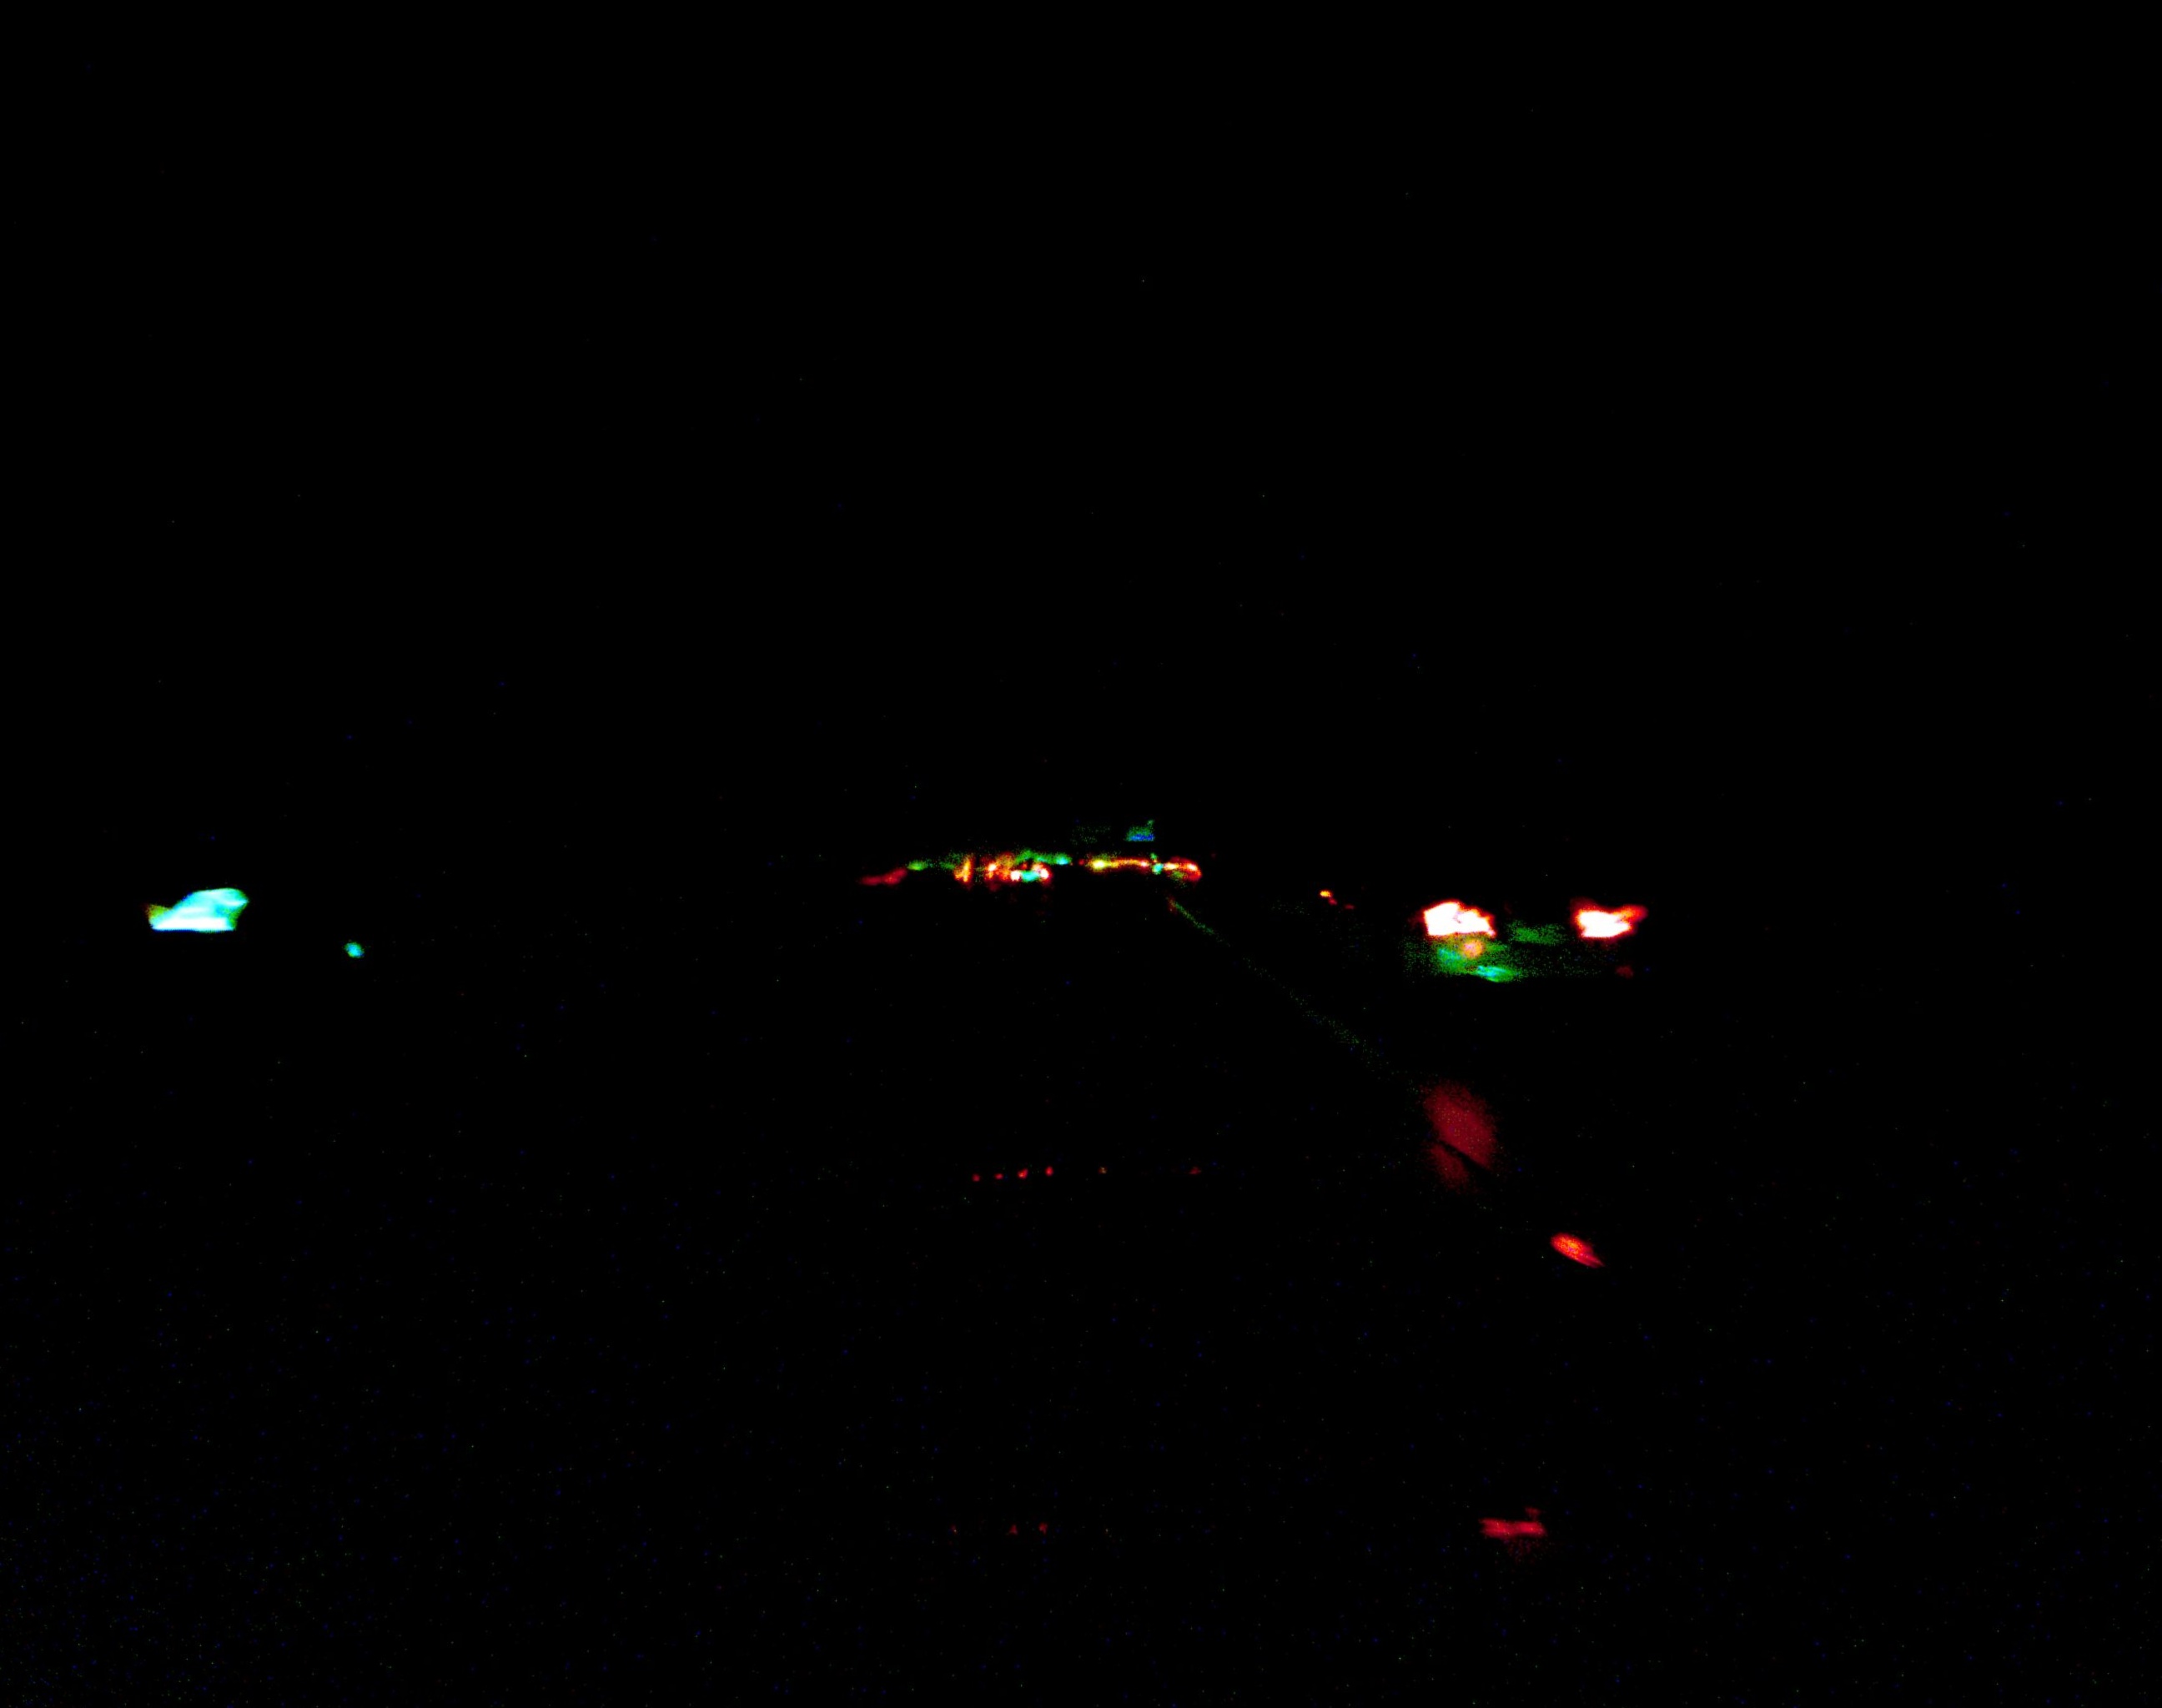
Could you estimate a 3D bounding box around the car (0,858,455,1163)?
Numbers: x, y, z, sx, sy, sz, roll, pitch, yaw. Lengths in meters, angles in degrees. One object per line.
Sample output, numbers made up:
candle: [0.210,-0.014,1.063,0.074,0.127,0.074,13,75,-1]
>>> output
car: [-6.447,0.821,4.694,1.851,1.540,4.753,-1,0,2]

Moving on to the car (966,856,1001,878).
car: [-6.052,0.833,50.883,1.657,1.236,3.761,-4,-2,0]

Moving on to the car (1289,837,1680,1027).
car: [3.910,0.625,9.112,2.050,1.519,5.018,-1,0,2]

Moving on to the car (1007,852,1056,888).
car: [-2.171,0.675,36.611,1.795,1.487,4.002,-1,0,2]

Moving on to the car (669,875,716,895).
car: [-37.272,2.971,78.291,1.983,1.771,4.578,-1,0,6]

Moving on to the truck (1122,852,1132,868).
truck: [9.714,1.266,171.383,1.985,3.043,6.470,-4,-2,3]

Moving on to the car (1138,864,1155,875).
car: [7.636,1.816,95.186,1.576,1.246,3.066,0,-1,-2]

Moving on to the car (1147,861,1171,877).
car: [6.160,1.177,64.545,1.576,1.246,3.066,0,-1,-2]

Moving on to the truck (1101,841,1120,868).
truck: [3.557,0.144,97.776,1.985,3.043,6.470,-4,-2,3]

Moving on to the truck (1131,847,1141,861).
truck: [13.045,0.077,193.626,1.985,3.043,6.470,-4,-2,3]

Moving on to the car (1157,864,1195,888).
car: [5.115,1.184,44.083,1.576,1.246,3.066,0,-1,-2]
